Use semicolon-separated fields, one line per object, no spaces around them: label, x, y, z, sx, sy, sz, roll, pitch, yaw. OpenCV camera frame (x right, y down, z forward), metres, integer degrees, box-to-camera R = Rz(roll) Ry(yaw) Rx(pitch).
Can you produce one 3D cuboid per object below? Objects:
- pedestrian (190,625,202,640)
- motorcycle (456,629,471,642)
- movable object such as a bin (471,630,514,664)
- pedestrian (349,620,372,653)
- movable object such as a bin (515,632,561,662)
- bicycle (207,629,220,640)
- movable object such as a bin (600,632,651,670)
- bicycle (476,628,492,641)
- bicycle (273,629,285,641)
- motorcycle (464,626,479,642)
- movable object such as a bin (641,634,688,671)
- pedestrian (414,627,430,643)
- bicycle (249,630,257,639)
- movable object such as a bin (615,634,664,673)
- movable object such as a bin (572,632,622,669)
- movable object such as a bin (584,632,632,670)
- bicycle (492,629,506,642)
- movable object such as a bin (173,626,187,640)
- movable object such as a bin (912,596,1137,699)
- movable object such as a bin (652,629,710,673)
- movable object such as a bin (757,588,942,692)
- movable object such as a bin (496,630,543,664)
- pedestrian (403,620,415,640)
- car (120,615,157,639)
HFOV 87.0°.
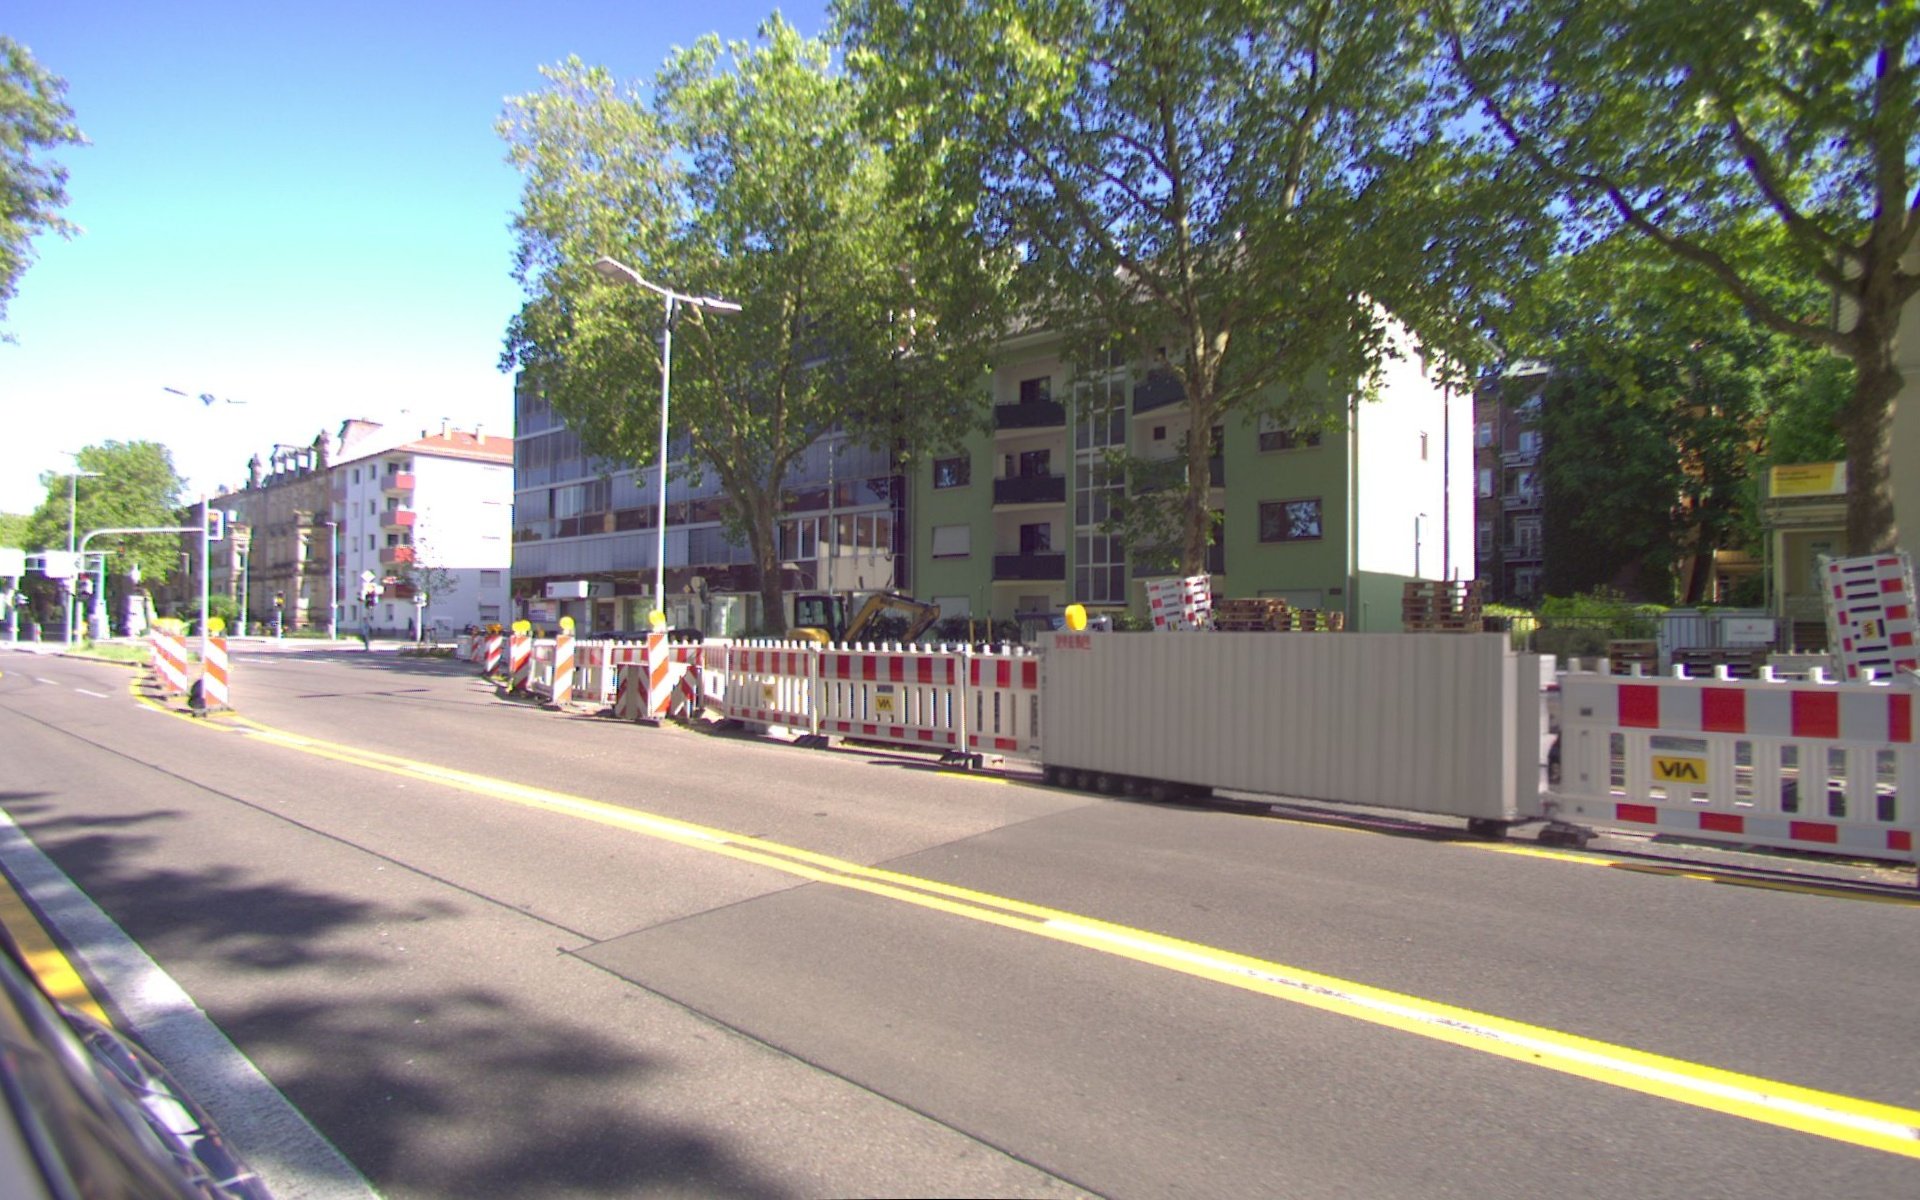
pedestrian;-72.933;3.081;96.642;1.089;1.388;0.560;2;-2;39
motorcycle;-36.421;2.615;74.241;0.496;0.943;1.844;1;-2;-42
movable object such as a bin;-20.415;2.038;44.177;1.855;1.399;1.102;-1;-2;43
pedestrian;-31.575;1.930;53.278;0.854;1.724;1.013;1;-2;-42
movable object such as a bin;-17.315;1.919;41.538;1.242;1.212;1.379;-1;-2;44
bicycle;-71.117;3.286;96.364;2.248;1.013;0.462;-2;-1;39
movable object such as a bin;-12.013;1.816;36.376;1.068;1.348;1.395;-1;-2;43
bicycle;-36.531;2.648;77.629;0.567;0.976;1.738;1;-2;-44
bicycle;-56.271;2.861;83.608;1.939;0.965;0.301;-2;-2;42
motorcycle;-36.594;2.536;75.829;0.603;1.150;1.786;1;-2;-40
movable object such as a bin;-10.541;1.849;36.088;1.539;1.280;0.969;-1;-2;41
pedestrian;-38.338;2.488;72.082;0.785;1.162;0.712;-1;-2;29
bicycle;-61.827;3.015;88.493;1.413;0.777;0.295;-2;-2;42
movable object such as a bin;-11.198;1.854;35.326;1.539;1.280;0.969;-1;-2;41
movable object such as a bin;-13.557;1.880;37.830;1.157;1.348;1.394;-1;-2;43
movable object such as a bin;-12.863;1.848;36.971;0.936;1.348;1.395;-1;-2;43
bicycle;-34.296;2.646;75.279;0.471;0.955;1.954;1;-2;-40
movable object such as a bin;-78.850;3.326;102.306;1.473;1.371;0.883;-3;-5;42
movable object such as a bin;1.475;1.122;25.099;5.599;2.296;1.971;-1;-3;44
movable object such as a bin;-9.496;1.718;34.517;1.251;1.433;1.627;0;-1;15
movable object such as a bin;-3.244;1.105;29.090;5.347;2.727;2.126;-1;-2;38
movable object such as a bin;-18.598;1.968;42.711;1.855;1.399;1.201;-1;-2;43
pedestrian;-40.970;2.215;75.181;0.695;1.508;0.593;-1;-2;44
car;-89.499;2.990;110.255;5.285;2.465;2.221;-3;-5;42
